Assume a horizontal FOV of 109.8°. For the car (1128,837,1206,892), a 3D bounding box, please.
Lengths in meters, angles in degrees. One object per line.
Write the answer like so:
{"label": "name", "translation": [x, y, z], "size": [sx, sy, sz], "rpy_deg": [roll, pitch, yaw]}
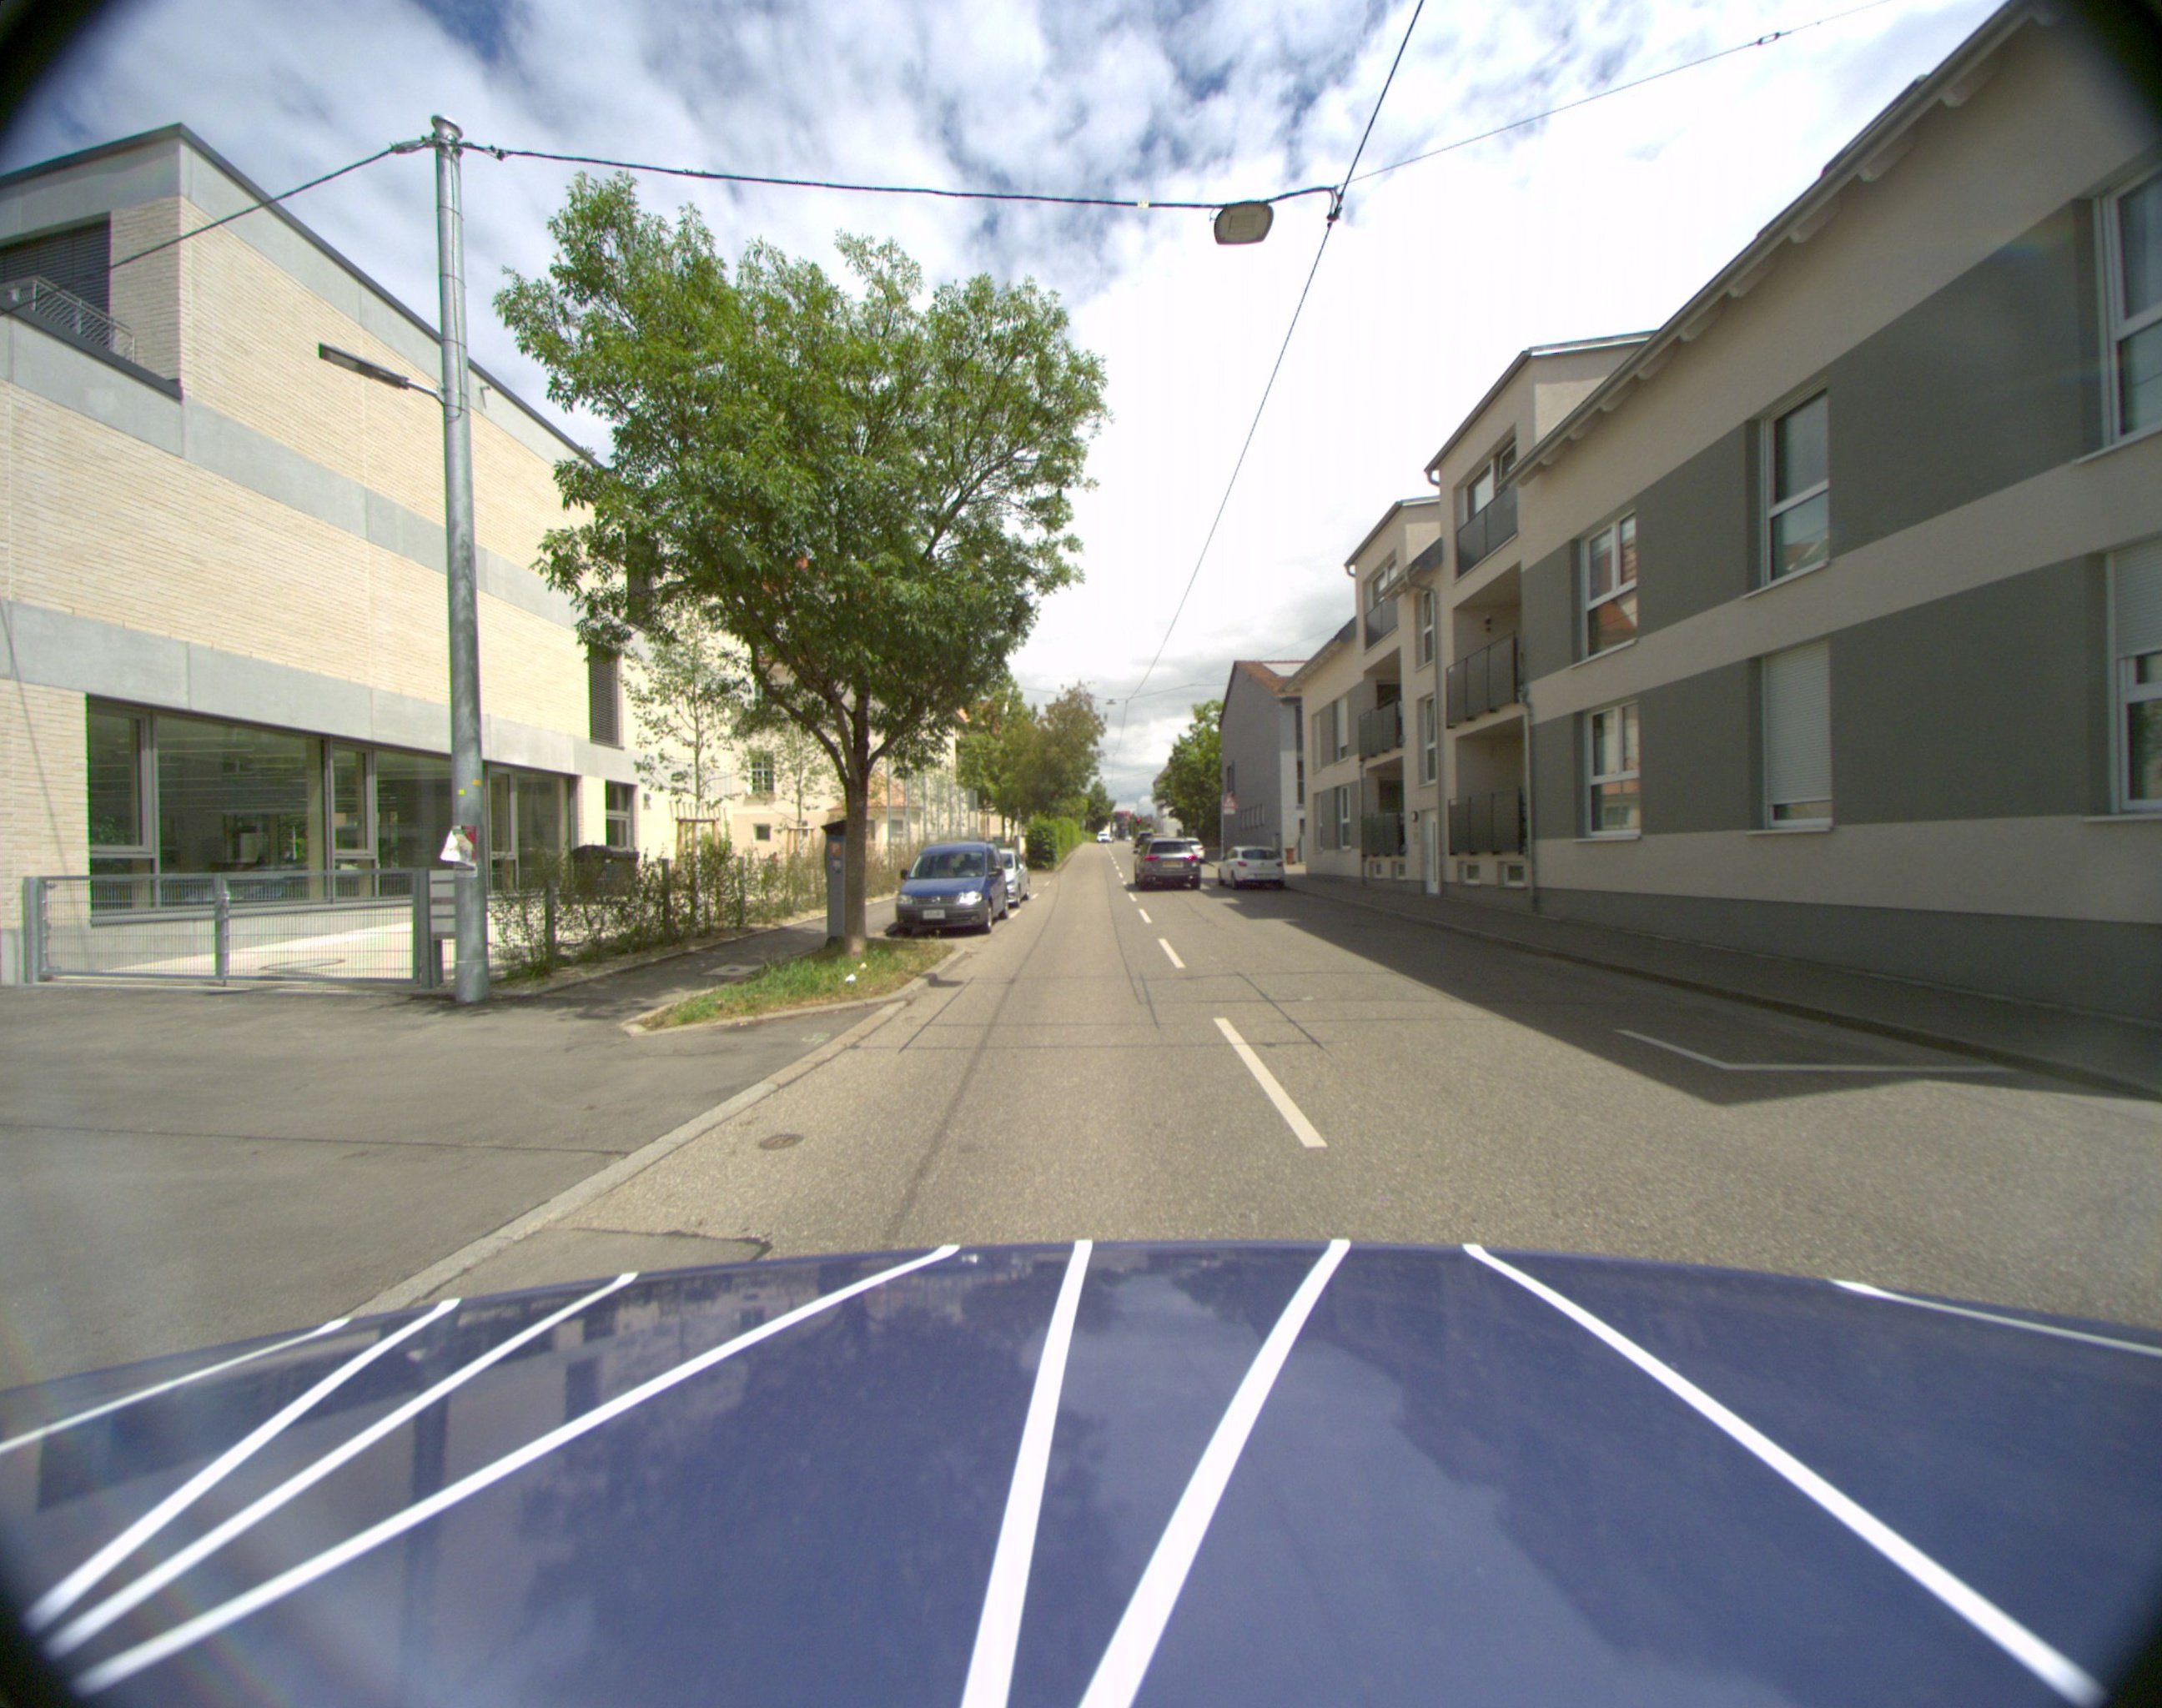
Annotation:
{"label": "car", "translation": [2.859, 0.337, 26.292], "size": [1.946, 1.709, 4.595], "rpy_deg": [0, 0, -3]}

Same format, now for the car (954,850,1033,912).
{"label": "car", "translation": [-2.352, 0.693, 21.261], "size": [1.677, 1.510, 3.669], "rpy_deg": [-1, 1, 1]}

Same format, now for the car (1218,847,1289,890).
{"label": "car", "translation": [5.802, 0.455, 25.902], "size": [1.665, 1.322, 3.473], "rpy_deg": [-1, 0, 1]}

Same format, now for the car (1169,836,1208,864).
{"label": "car", "translation": [6.145, -0.260, 43.893], "size": [1.737, 1.480, 4.065], "rpy_deg": [0, 3, 1]}

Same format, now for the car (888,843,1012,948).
{"label": "car", "translation": [-2.506, 0.713, 15.577], "size": [1.698, 1.734, 4.158], "rpy_deg": [-1, 2, 1]}

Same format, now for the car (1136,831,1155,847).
{"label": "car", "translation": [6.553, -1.579, 77.058], "size": [1.672, 1.545, 3.964], "rpy_deg": [0, 3, 1]}

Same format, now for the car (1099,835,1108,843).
{"label": "car", "translation": [3.535, -2.330, 118.919], "size": [1.298, 1.148, 2.983], "rpy_deg": [-4, 0, 1]}

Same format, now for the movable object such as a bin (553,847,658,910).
{"label": "movable object such as a bin", "translation": [-11.591, 0.557, 18.603], "size": [1.351, 1.438, 1.807], "rpy_deg": [-1, 1, 2]}
